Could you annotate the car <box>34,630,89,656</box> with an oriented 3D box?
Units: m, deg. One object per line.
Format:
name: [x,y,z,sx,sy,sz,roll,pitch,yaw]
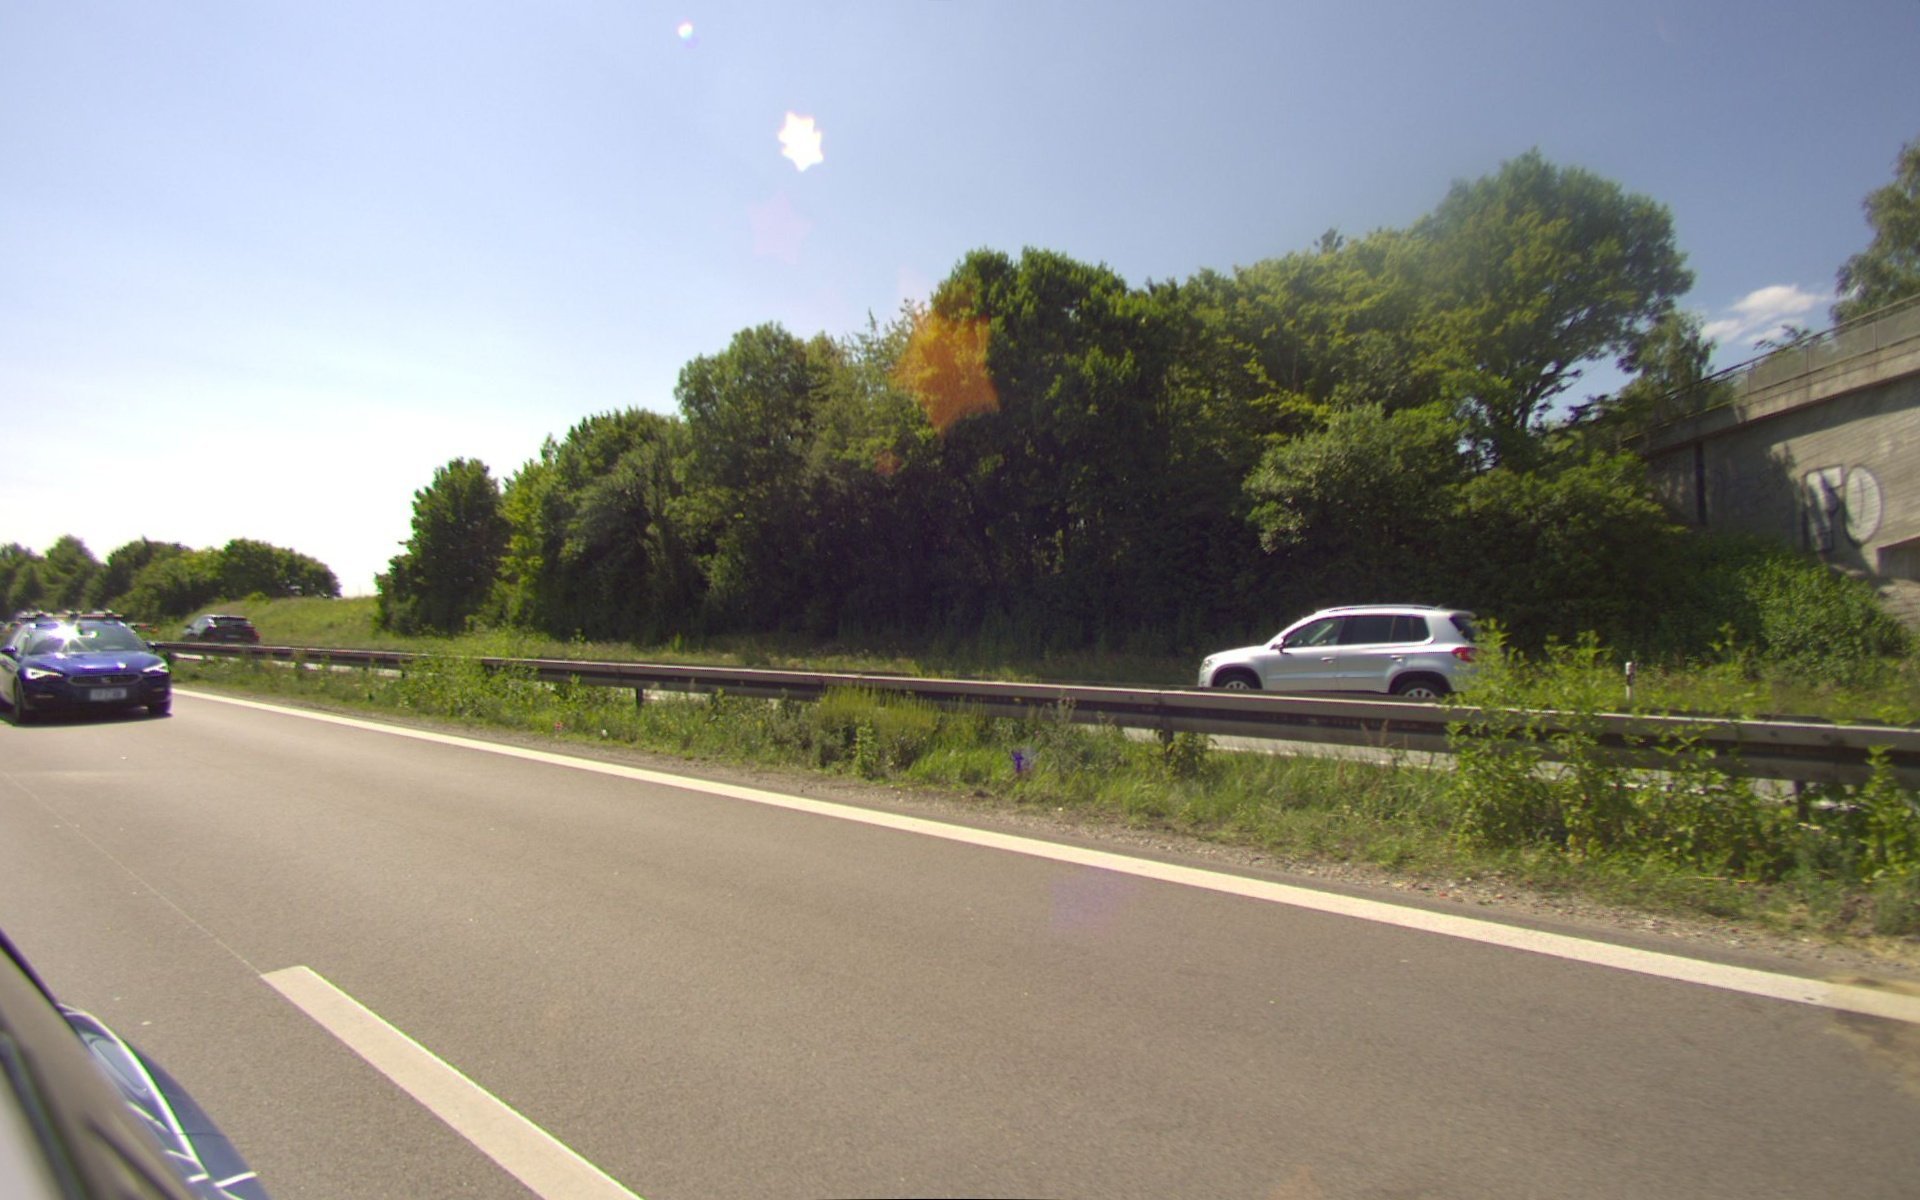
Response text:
car: [-57.257,2.706,64.467,5.086,1.617,1.973,-1,-2,41]

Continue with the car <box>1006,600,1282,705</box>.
car: [2.987,0.830,16.959,4.212,1.539,1.840,-1,-2,41]

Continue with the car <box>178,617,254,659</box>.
car: [-31.235,1.579,42.460,4.127,1.679,1.778,-2,-2,42]

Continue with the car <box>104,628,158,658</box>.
car: [-55.107,2.824,67.240,4.693,1.818,1.973,0,-1,41]

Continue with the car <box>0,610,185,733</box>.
car: [-13.708,1.007,15.682,4.238,1.638,1.880,-2,-1,41]

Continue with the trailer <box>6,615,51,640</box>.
trailer: [-105.864,3.093,114.946,8.623,2.708,2.704,-1,-2,40]

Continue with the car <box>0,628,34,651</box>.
car: [-72.319,2.970,77.230,4.419,1.586,1.831,0,-1,40]
